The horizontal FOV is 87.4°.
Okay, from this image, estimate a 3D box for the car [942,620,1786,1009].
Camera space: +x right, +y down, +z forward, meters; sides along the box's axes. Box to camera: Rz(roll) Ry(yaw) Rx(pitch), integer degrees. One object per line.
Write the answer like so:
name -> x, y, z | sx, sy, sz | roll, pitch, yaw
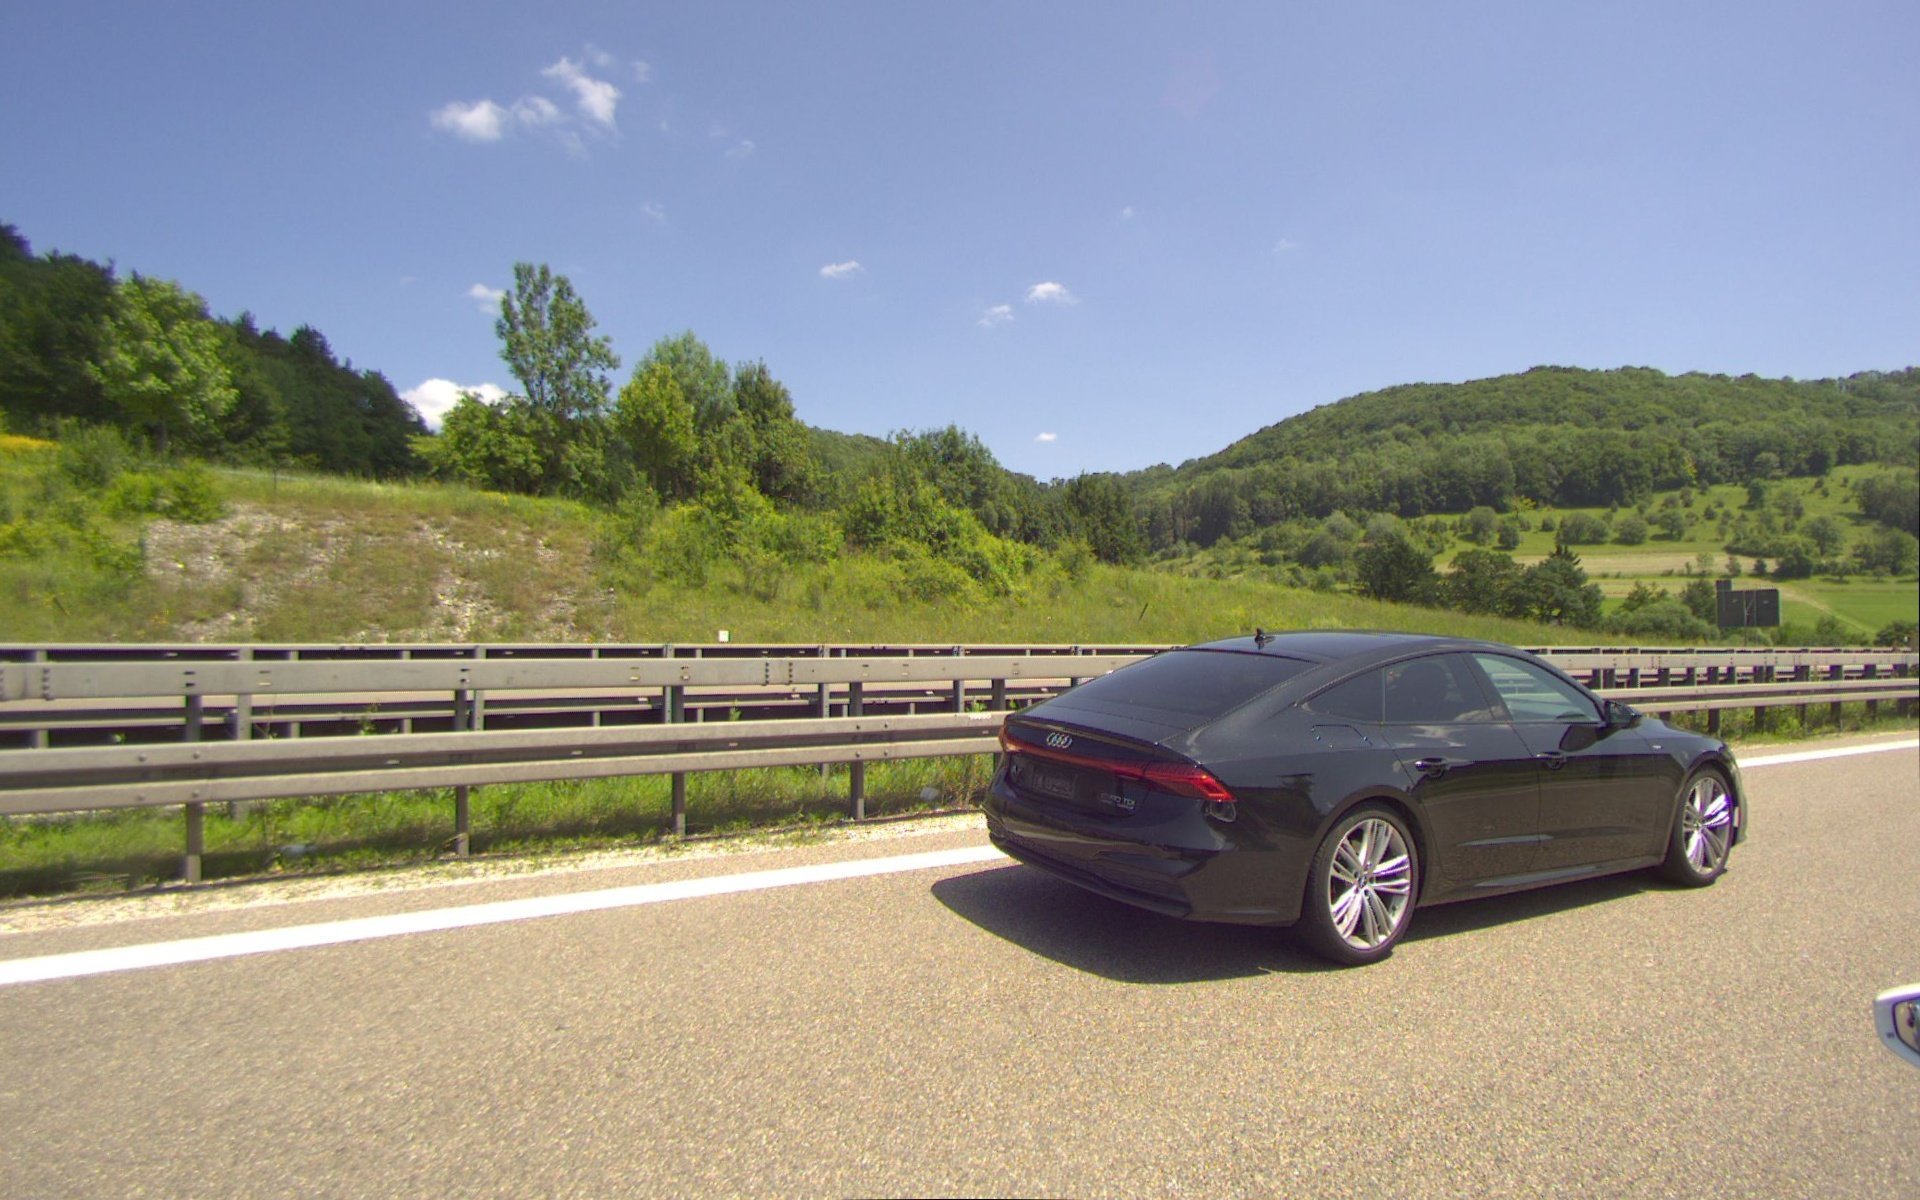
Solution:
car -> 2.477, 0.858, 5.691 | 4.910, 1.409, 1.792 | 2, -1, -30
